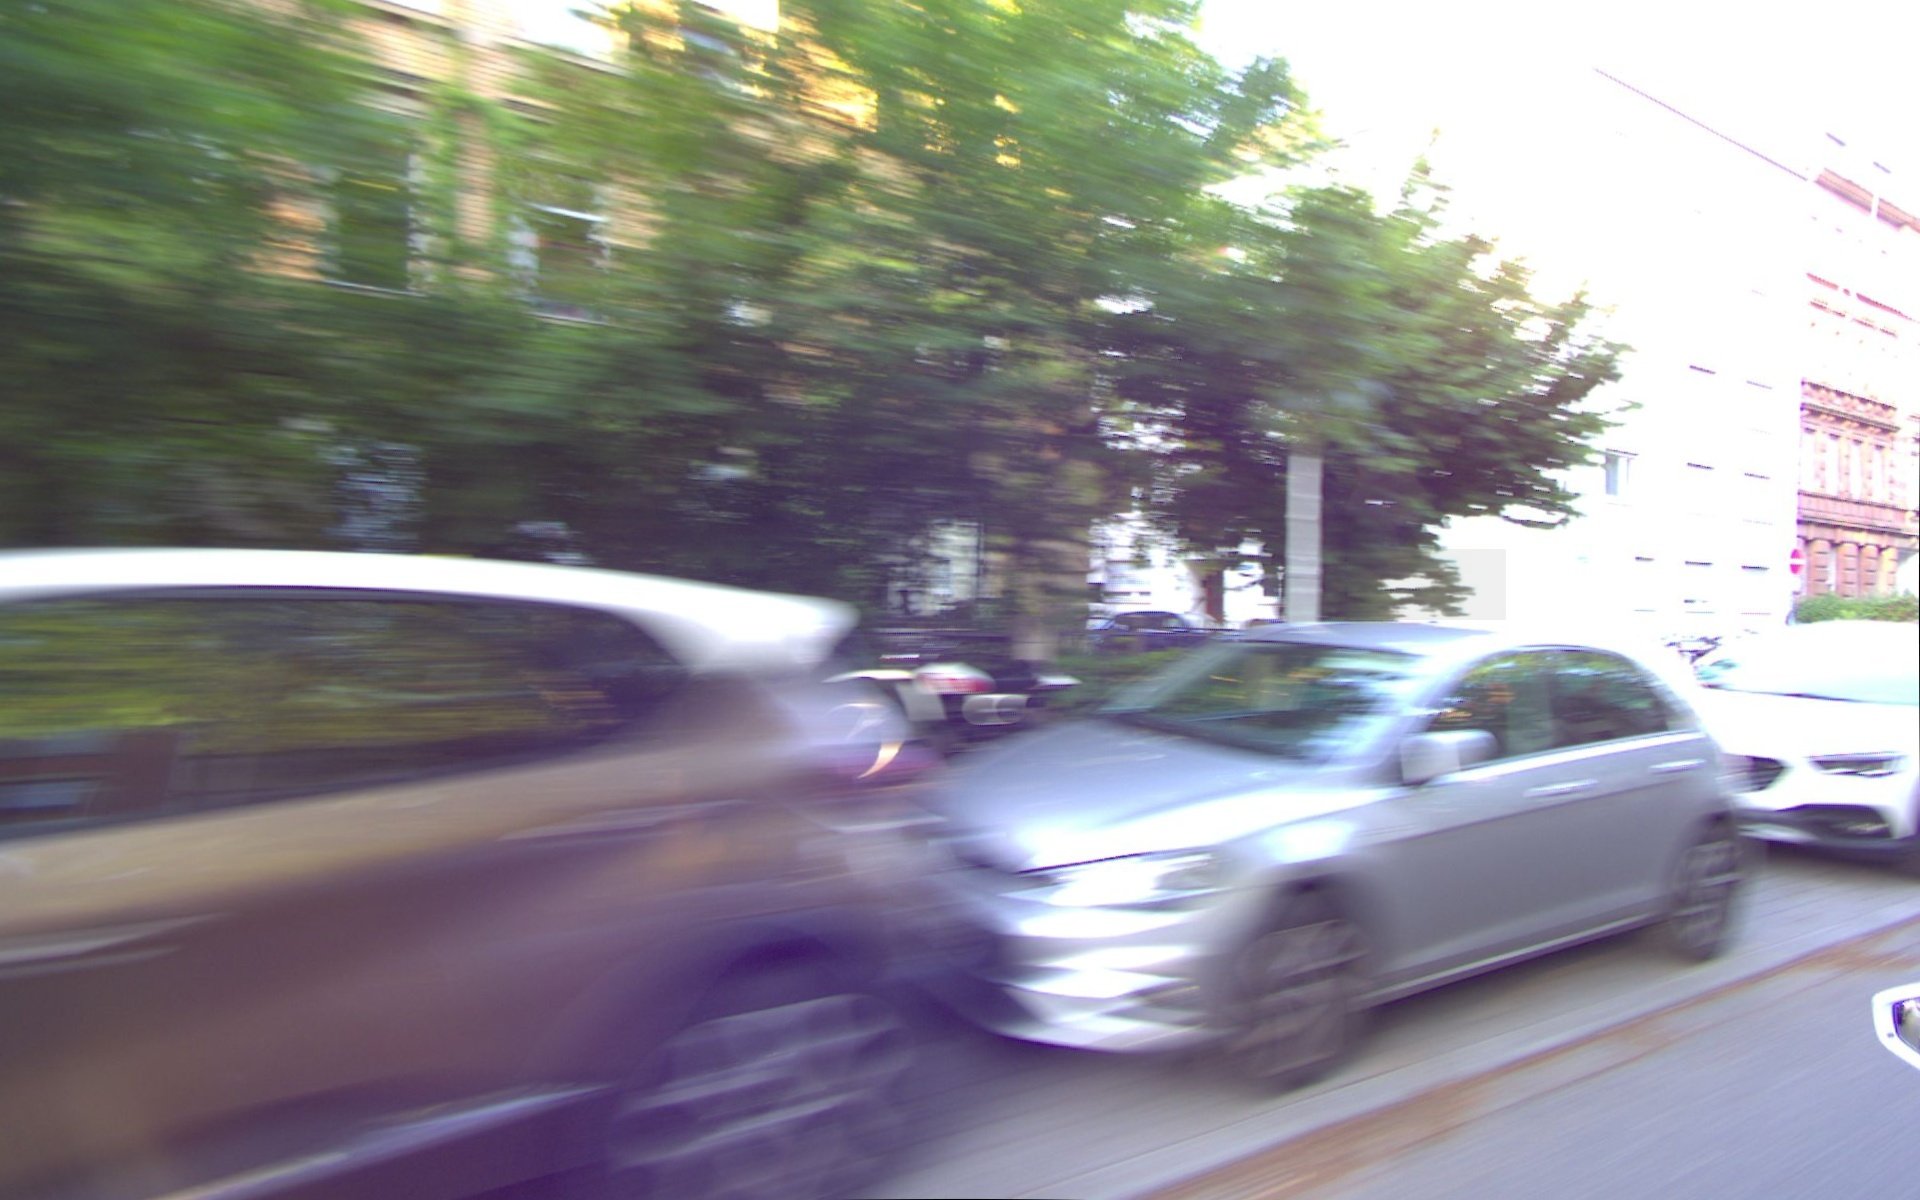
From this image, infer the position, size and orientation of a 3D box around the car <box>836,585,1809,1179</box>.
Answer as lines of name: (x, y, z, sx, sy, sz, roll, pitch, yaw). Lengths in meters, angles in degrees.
car: (1.796, 0.791, 4.434, 4.351, 1.522, 1.681, 2, -1, -31)

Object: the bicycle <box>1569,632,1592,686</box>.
bicycle: (13.873, 1.288, 22.429, 0.361, 1.131, 1.846, 1, 0, 34)

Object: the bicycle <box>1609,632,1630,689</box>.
bicycle: (14.417, 1.304, 21.949, 0.361, 1.167, 1.846, 1, 0, 34)

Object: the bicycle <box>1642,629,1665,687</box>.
bicycle: (14.899, 1.230, 21.595, 0.361, 1.167, 1.846, 1, 0, 34)

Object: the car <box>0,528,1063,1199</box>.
car: (-2.028, 0.642, 2.160, 4.354, 1.585, 1.680, 1, 3, -32)

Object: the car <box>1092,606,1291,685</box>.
car: (5.026, 0.959, 22.230, 1.696, 1.572, 4.057, 3, -2, -41)

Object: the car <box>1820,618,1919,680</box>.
car: (24.390, 1.234, 25.433, 1.790, 1.467, 3.557, 0, 1, -21)

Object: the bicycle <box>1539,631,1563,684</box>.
bicycle: (13.544, 1.296, 22.997, 0.361, 1.131, 1.846, 1, 0, 34)

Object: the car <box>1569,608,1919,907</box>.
car: (6.623, 0.879, 7.303, 4.682, 1.522, 1.681, 1, 2, -30)

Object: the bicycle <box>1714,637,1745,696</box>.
bicycle: (15.870, 1.340, 20.728, 0.361, 1.124, 1.846, 1, 0, 34)

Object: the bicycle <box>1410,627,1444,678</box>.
bicycle: (11.477, 1.263, 24.649, 0.361, 1.181, 1.845, 1, 0, 37)

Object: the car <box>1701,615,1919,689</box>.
car: (19.914, 1.133, 23.353, 1.683, 1.467, 4.086, 0, 1, -21)

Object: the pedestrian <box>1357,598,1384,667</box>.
pedestrian: (10.932, 0.852, 26.768, 0.494, 1.789, 0.621, 2, 5, 38)

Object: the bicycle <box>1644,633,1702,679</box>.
bicycle: (17.280, 1.335, 24.322, 1.855, 1.076, 0.394, 1, 0, -30)

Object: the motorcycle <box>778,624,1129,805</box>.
motorcycle: (0.025, 0.819, 7.923, 2.857, 1.172, 0.579, 0, 3, -30)

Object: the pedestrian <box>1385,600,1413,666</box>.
pedestrian: (11.759, 0.876, 26.894, 0.528, 1.706, 0.579, 2, 4, 40)

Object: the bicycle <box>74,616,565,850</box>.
bicycle: (-3.766, 0.761, 6.105, 2.441, 1.302, 0.606, 1, -1, -10)

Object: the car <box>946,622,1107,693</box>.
car: (1.641, 1.415, 25.433, 3.820, 1.572, 1.700, 0, -2, 42)

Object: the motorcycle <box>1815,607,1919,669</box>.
motorcycle: (26.032, 1.043, 28.387, 0.665, 1.660, 2.847, 1, 0, -21)

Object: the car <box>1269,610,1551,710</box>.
car: (8.038, 0.975, 18.308, 1.694, 1.573, 4.416, 0, 0, -39)

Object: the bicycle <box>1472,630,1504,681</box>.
bicycle: (12.486, 1.291, 23.736, 0.361, 1.120, 1.845, 1, 0, 37)

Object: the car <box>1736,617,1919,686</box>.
car: (21.835, 1.196, 24.675, 1.789, 1.467, 4.088, 0, 1, -19)

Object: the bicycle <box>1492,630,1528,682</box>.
bicycle: (12.851, 1.288, 23.437, 0.395, 1.131, 1.843, 1, 0, 39)

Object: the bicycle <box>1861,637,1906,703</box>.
bicycle: (17.692, 1.310, 19.266, 0.332, 1.197, 1.873, 1, -1, 34)
